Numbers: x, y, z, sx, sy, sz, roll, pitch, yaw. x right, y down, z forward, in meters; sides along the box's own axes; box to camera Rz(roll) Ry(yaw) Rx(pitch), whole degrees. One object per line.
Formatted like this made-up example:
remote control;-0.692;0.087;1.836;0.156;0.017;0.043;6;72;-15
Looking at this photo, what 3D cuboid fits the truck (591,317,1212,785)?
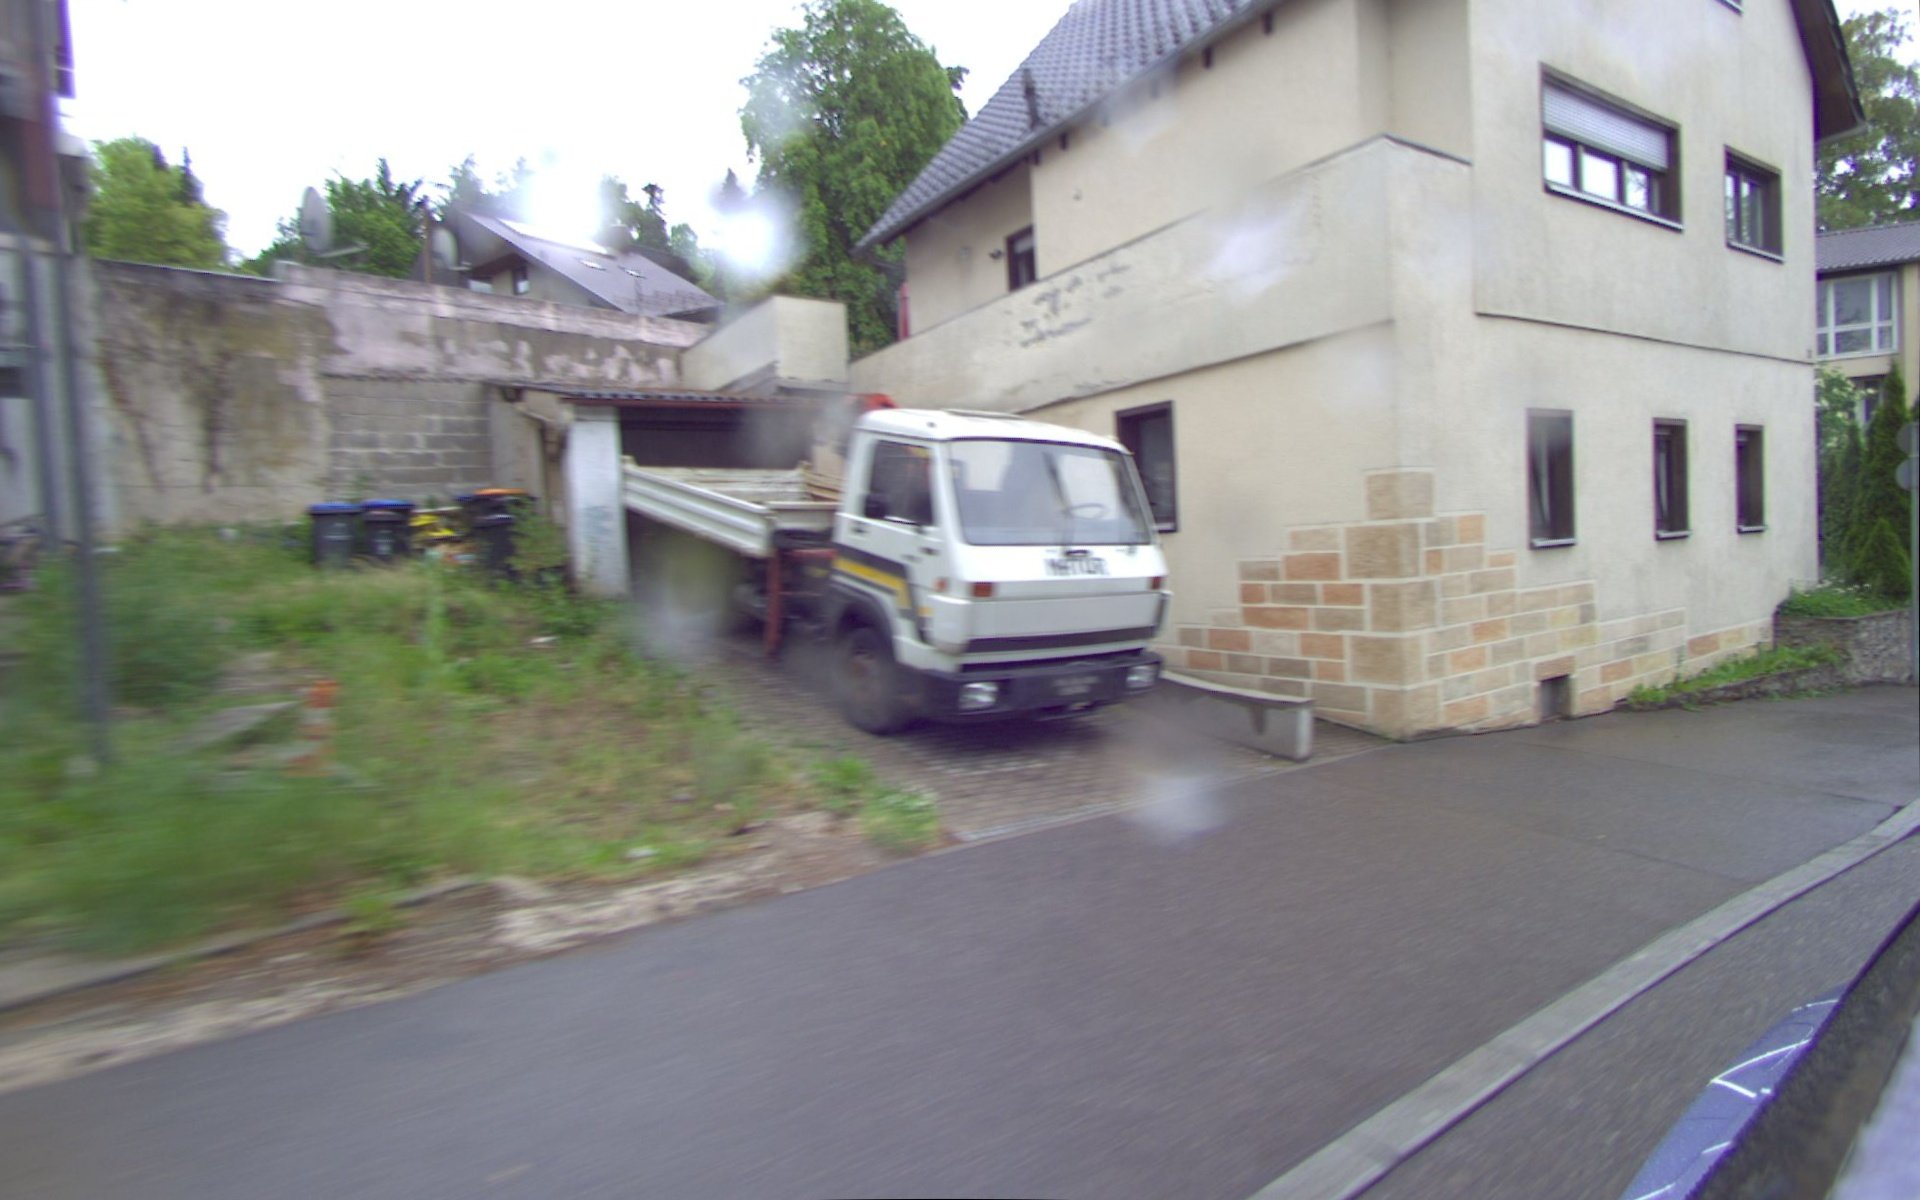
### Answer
truck;-1.216;-0.578;9.337;2.101;2.735;6.981;1;5;-37
